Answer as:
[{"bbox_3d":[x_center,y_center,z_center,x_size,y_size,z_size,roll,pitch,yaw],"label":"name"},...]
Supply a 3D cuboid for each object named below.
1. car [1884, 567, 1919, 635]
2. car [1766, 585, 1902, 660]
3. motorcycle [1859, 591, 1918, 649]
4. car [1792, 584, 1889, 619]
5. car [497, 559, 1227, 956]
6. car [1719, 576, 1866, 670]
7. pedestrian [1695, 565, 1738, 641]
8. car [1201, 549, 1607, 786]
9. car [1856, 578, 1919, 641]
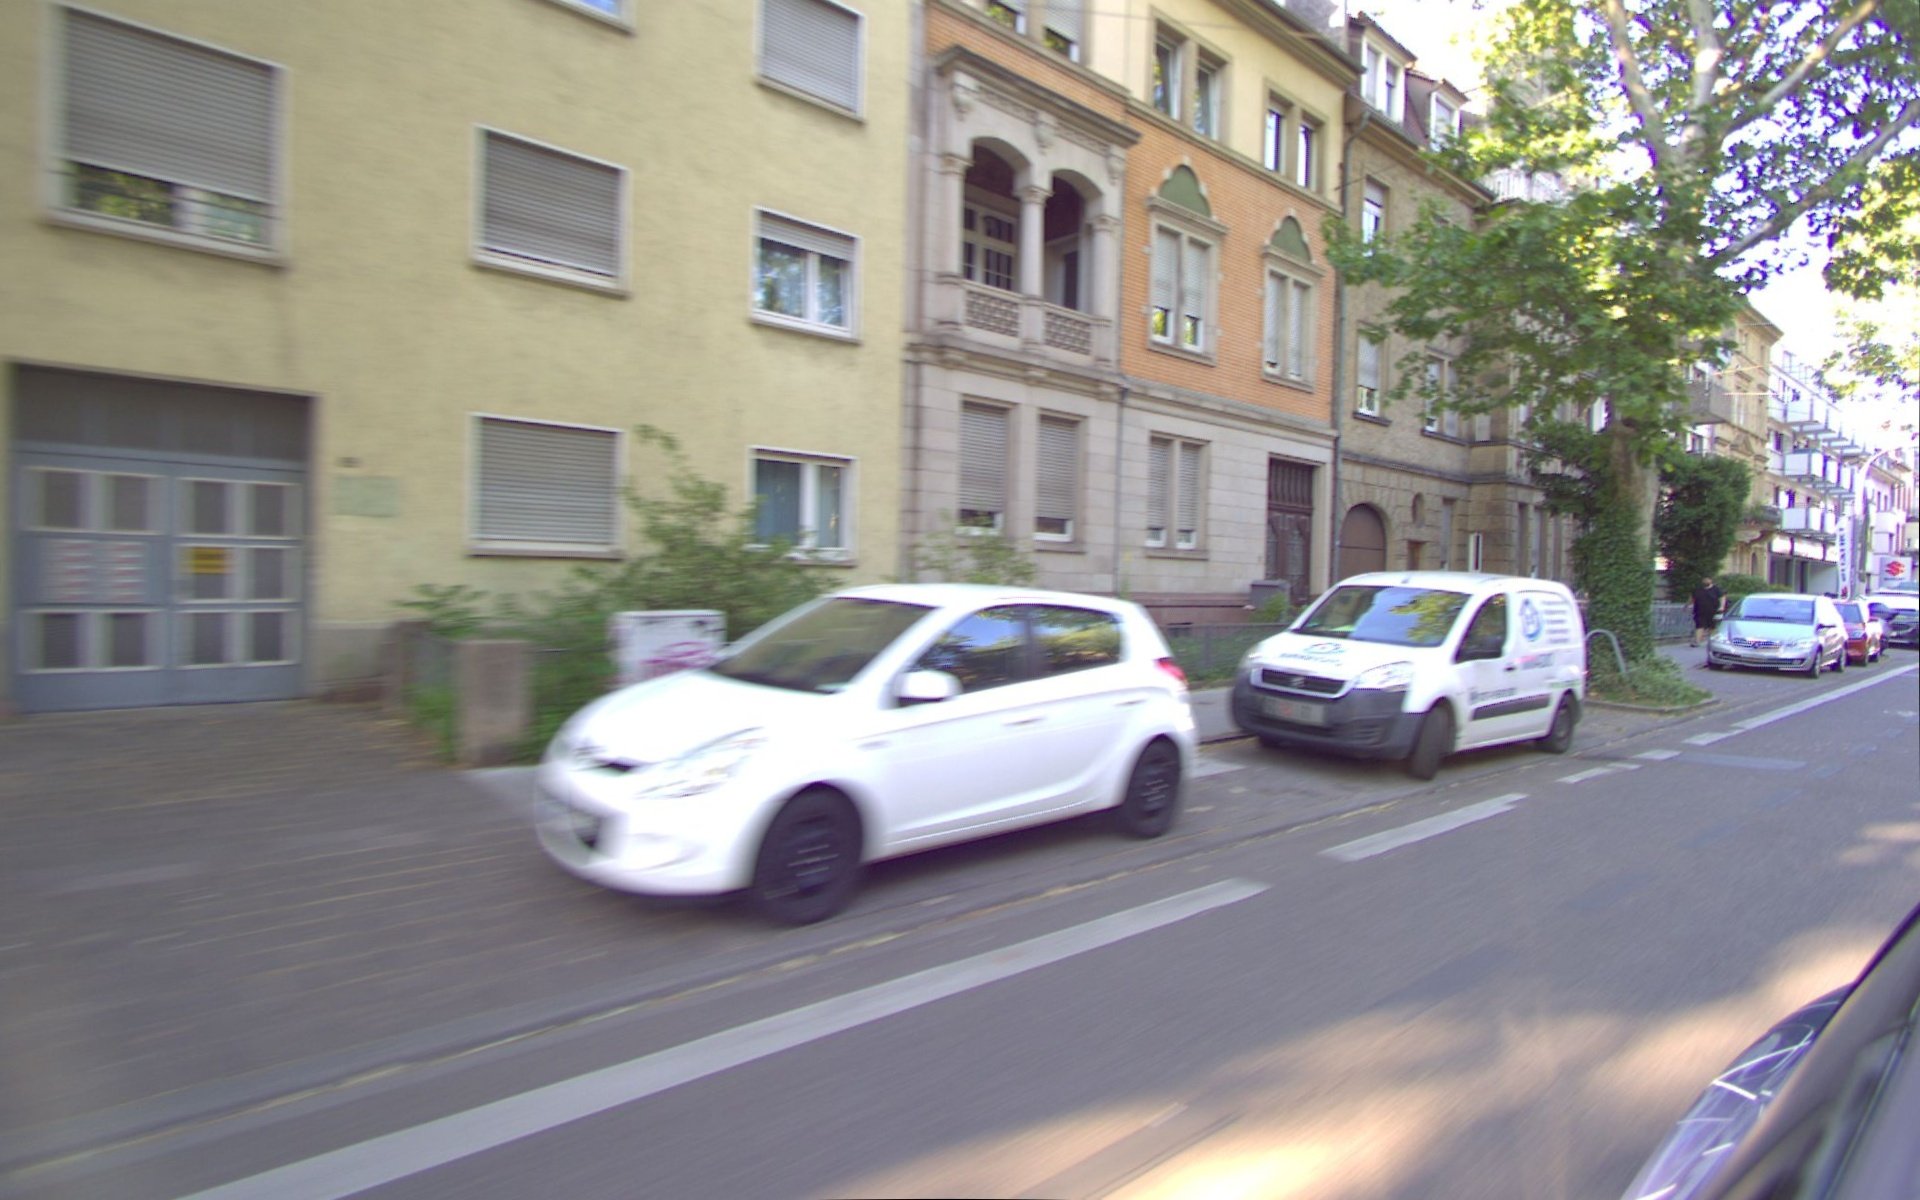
[{"bbox_3d":[34.470,-0.009,35.881,5.146,2.285,1.997,-1,2,-42],"label":"car"},{"bbox_3d":[21.030,0.459,24.311,3.912,1.579,1.997,-1,2,-42],"label":"car"},{"bbox_3d":[24.506,0.488,26.760,0.822,1.415,2.348,4,3,36],"label":"motorcycle"},{"bbox_3d":[42.564,0.059,48.977,1.418,1.565,3.422,-1,2,-43],"label":"car"},{"bbox_3d":[-0.317,0.566,5.782,3.931,1.504,1.648,0,2,-42],"label":"car"},{"bbox_3d":[17.120,0.383,20.753,3.786,1.711,1.747,-1,2,-42],"label":"car"},{"bbox_3d":[19.990,0.058,26.758,0.800,1.961,0.712,0,1,-40],"label":"pedestrian"},{"bbox_3d":[4.370,0.448,9.670,4.315,1.791,1.749,-1,2,-39],"label":"car"},{"bbox_3d":[30.203,0.242,32.198,4.676,1.852,1.997,-1,2,-42],"label":"car"}]
